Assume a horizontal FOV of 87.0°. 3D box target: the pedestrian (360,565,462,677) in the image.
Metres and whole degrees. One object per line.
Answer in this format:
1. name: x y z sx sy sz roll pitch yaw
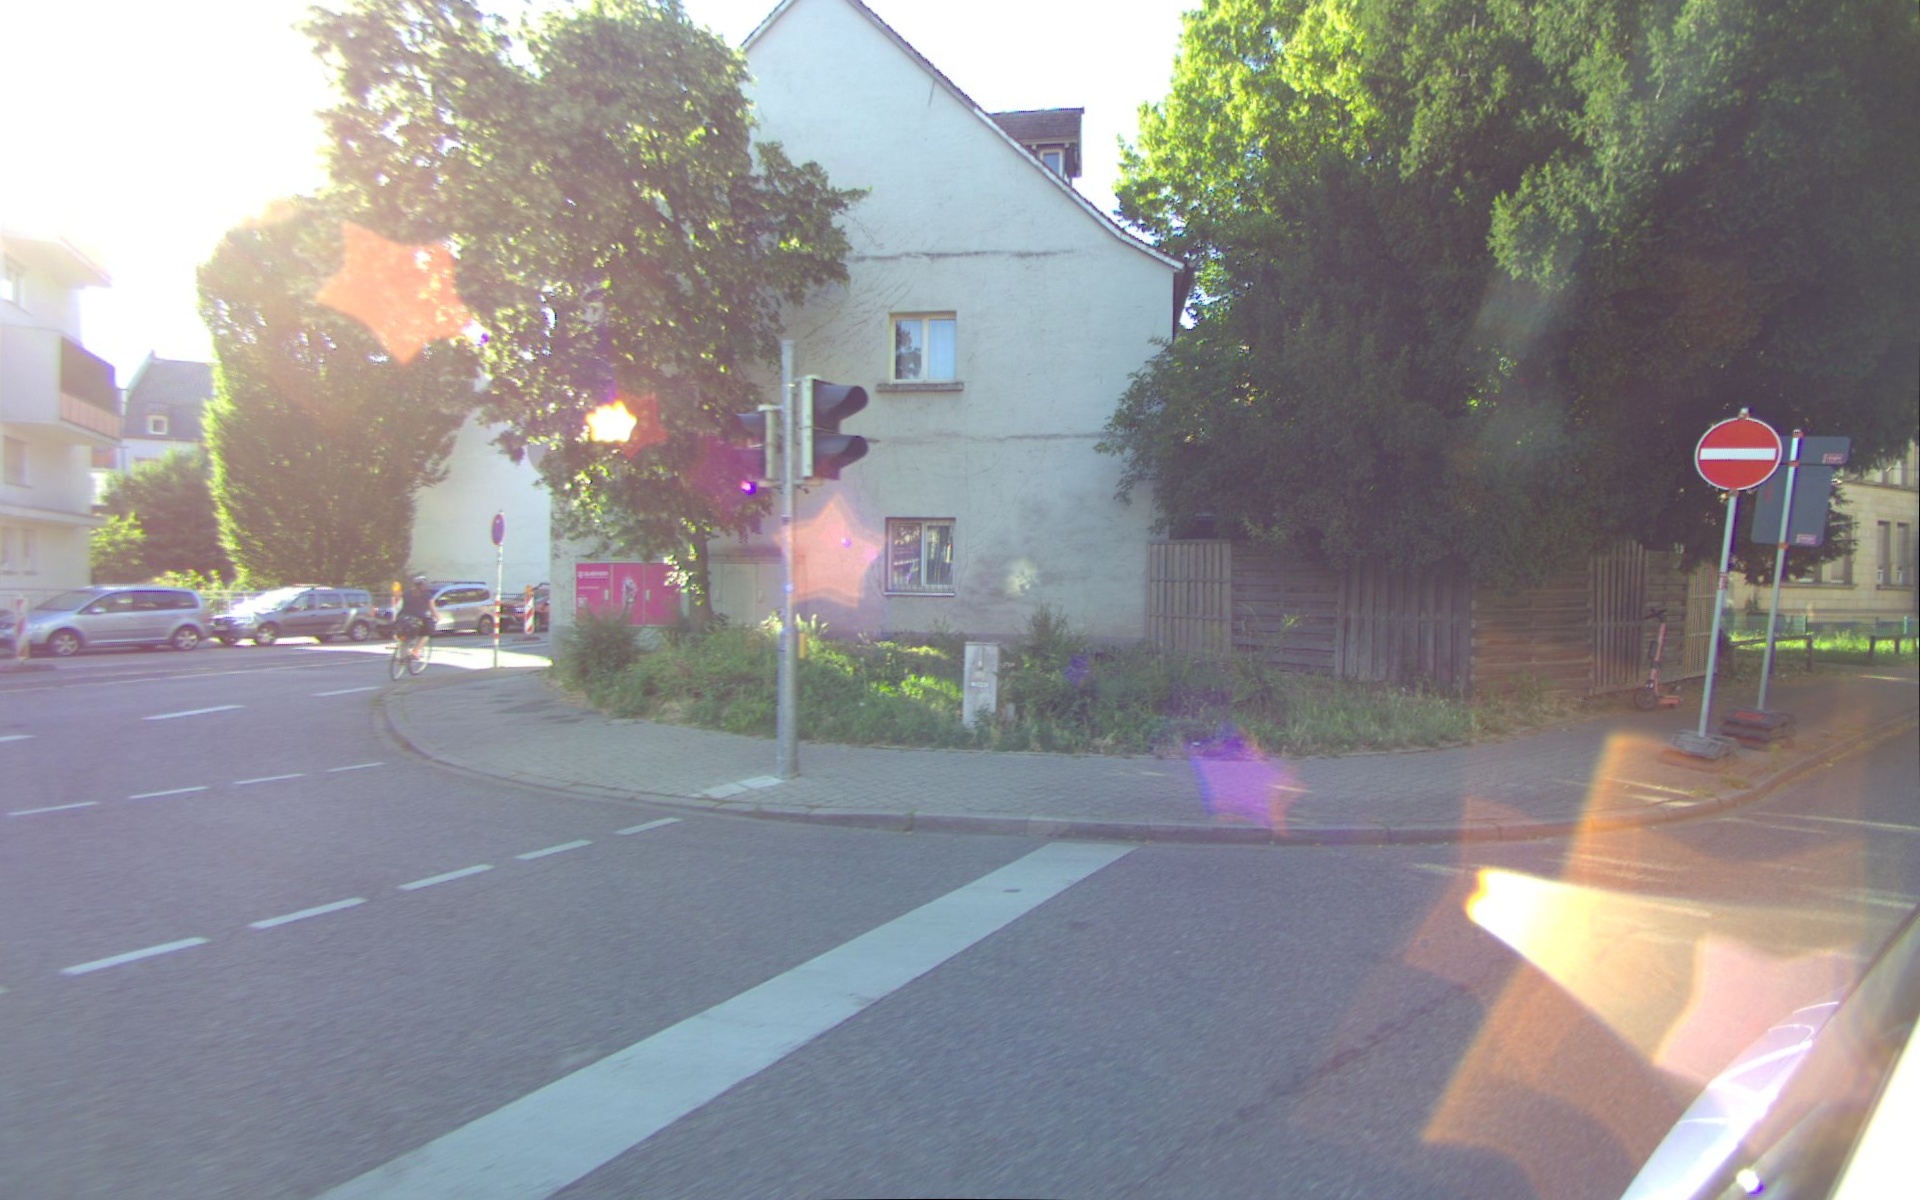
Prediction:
1. pedestrian: -9.495 0.350 17.552 0.943 1.861 1.284 0 -1 14

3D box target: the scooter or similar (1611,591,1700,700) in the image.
1. scooter or similar: 8.348 0.523 12.136 1.235 1.216 0.439 0 3 -36

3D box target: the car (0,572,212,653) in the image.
1. car: -21.212 0.298 24.887 1.973 1.803 4.203 0 0 18

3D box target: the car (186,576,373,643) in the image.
1. car: -19.666 0.273 29.478 1.973 1.803 4.203 0 0 18
